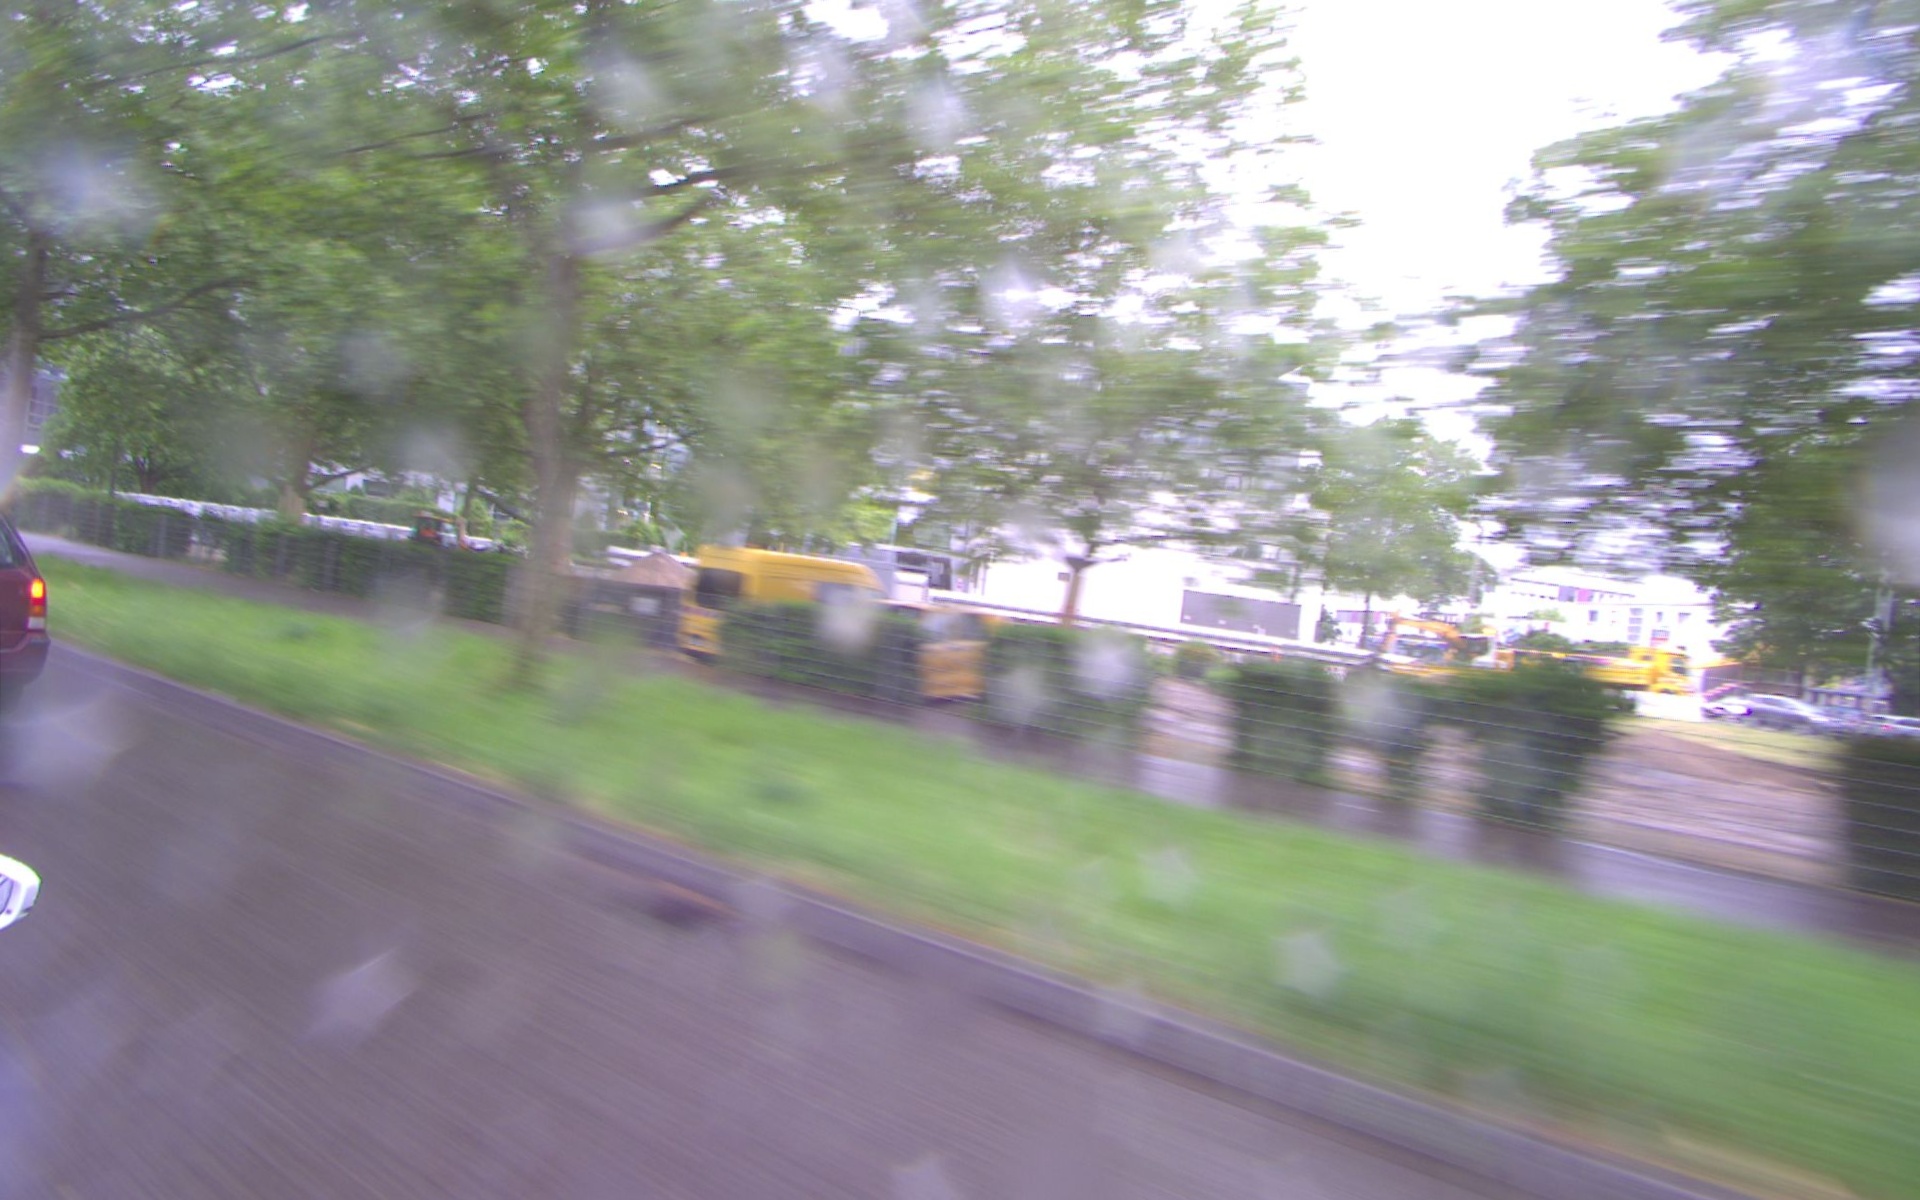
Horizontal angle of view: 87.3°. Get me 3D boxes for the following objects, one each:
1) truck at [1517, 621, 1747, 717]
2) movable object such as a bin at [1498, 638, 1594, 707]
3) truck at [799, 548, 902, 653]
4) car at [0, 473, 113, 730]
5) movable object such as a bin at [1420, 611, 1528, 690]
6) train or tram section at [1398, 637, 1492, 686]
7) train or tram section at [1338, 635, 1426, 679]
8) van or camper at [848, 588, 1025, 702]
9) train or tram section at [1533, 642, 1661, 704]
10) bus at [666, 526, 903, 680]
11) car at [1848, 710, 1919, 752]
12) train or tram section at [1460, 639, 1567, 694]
[{"bbox_3d":[31.854,3.240,47.852,9.300,3.385,2.496,7,-1,-4],"label":"truck"},{"bbox_3d":[23.344,2.830,40.238,1.975,2.385,3.283,7,0,8],"label":"movable object such as a bin"},{"bbox_3d":[-3.910,0.130,37.486,3.026,3.067,9.500,7,-2,-4],"label":"truck"},{"bbox_3d":[-7.748,-0.236,6.738,4.042,1.555,1.843,7,-1,31],"label":"car"},{"bbox_3d":[27.572,2.683,54.059,3.566,3.671,3.301,7,0,-24],"label":"movable object such as a bin"},{"bbox_3d":[41.239,5.176,86.003,2.358,3.561,9.107,7,-2,-7],"label":"train or tram section"},{"bbox_3d":[40.040,5.313,95.941,2.358,3.561,10.841,7,-2,-7],"label":"train or tram section"},{"bbox_3d":[-0.364,0.985,20.700,1.770,1.929,3.998,8,-1,27],"label":"van or camper"},{"bbox_3d":[43.333,4.868,68.817,2.358,3.561,8.366,7,-2,-7],"label":"train or tram section"},{"bbox_3d":[-3.548,0.183,21.334,1.967,2.679,4.799,7,-1,32],"label":"bus"},{"bbox_3d":[47.301,6.641,49.963,4.538,1.617,1.845,7,1,3],"label":"car"},{"bbox_3d":[42.301,5.015,77.242,2.358,3.561,8.526,7,-2,-7],"label":"train or tram section"}]
